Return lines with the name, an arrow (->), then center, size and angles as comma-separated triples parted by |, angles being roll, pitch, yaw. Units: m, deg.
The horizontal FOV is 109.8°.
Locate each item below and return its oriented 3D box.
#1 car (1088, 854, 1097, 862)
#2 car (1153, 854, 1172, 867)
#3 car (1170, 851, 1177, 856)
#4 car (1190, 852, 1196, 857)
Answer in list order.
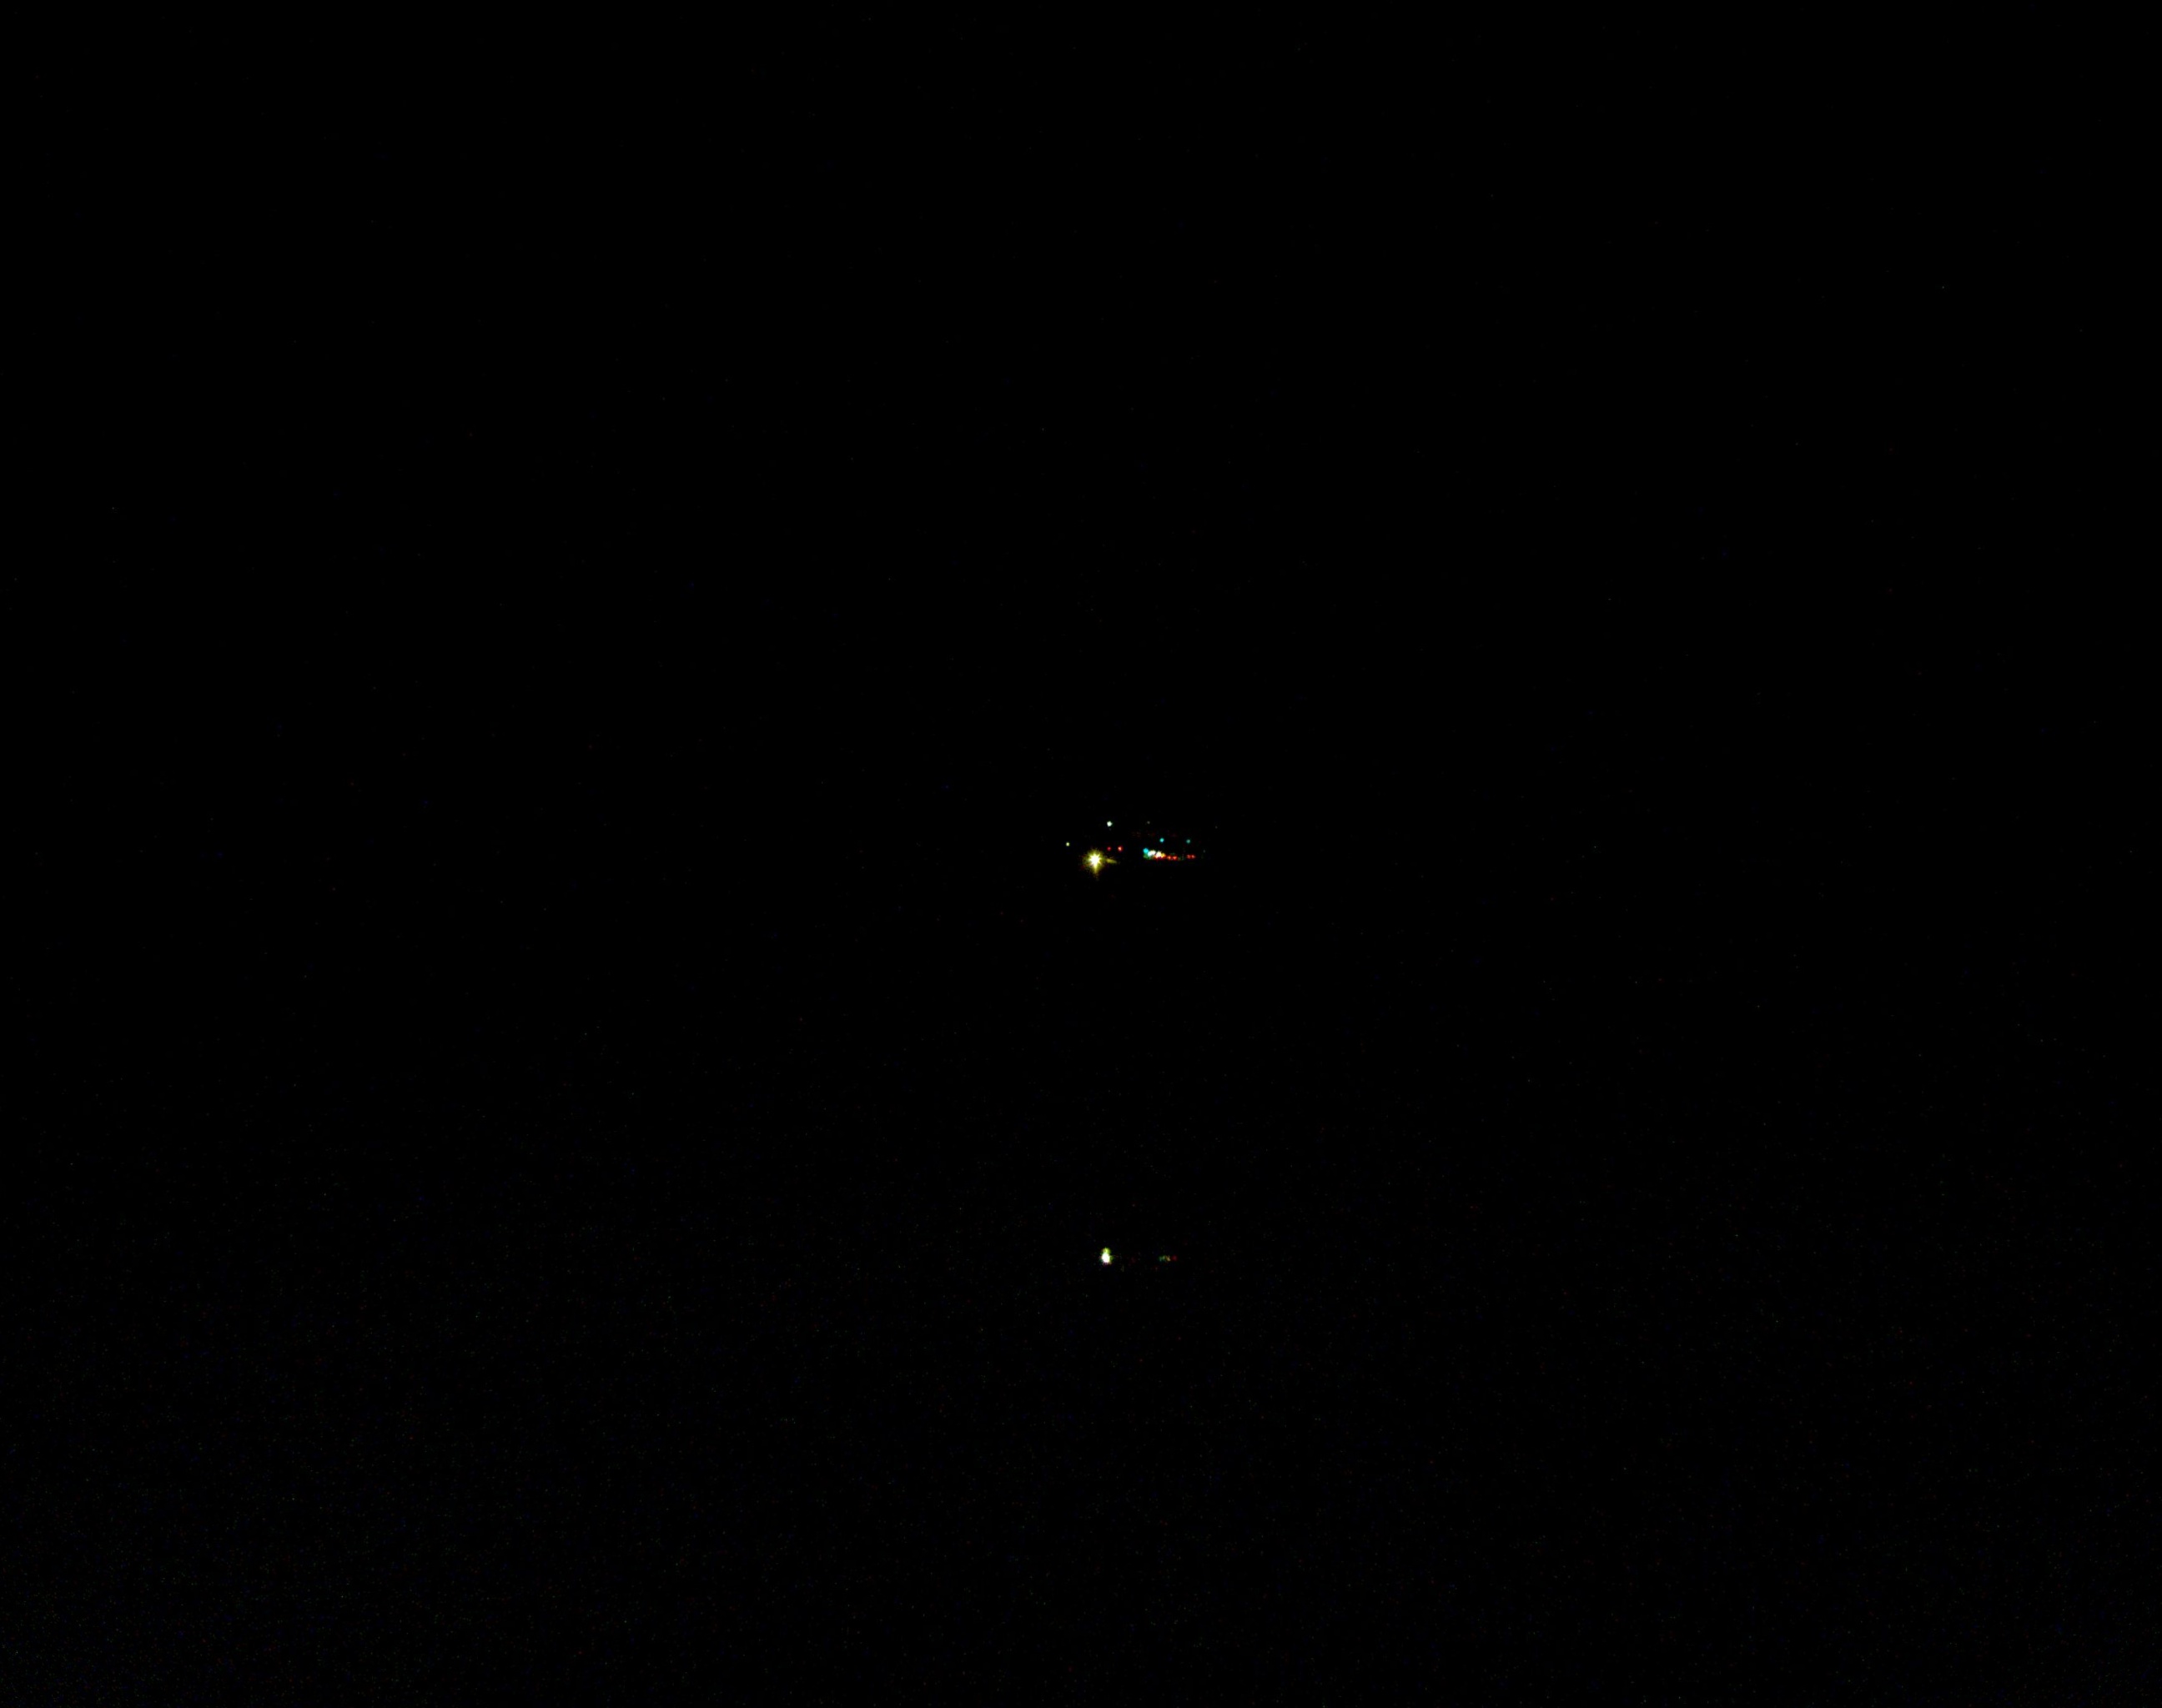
car -> 2.239, 0.781, 147.850 | 1.570, 1.336, 4.167 | -2, 0, 2
car -> 9.355, 0.710, 87.692 | 1.724, 1.399, 4.574 | -2, 1, 1
car -> 25.214, -0.117, 207.088 | 1.723, 1.439, 4.383 | -2, 1, 7
car -> 35.157, 0.053, 238.301 | 1.655, 1.467, 4.002 | -2, 1, 10
